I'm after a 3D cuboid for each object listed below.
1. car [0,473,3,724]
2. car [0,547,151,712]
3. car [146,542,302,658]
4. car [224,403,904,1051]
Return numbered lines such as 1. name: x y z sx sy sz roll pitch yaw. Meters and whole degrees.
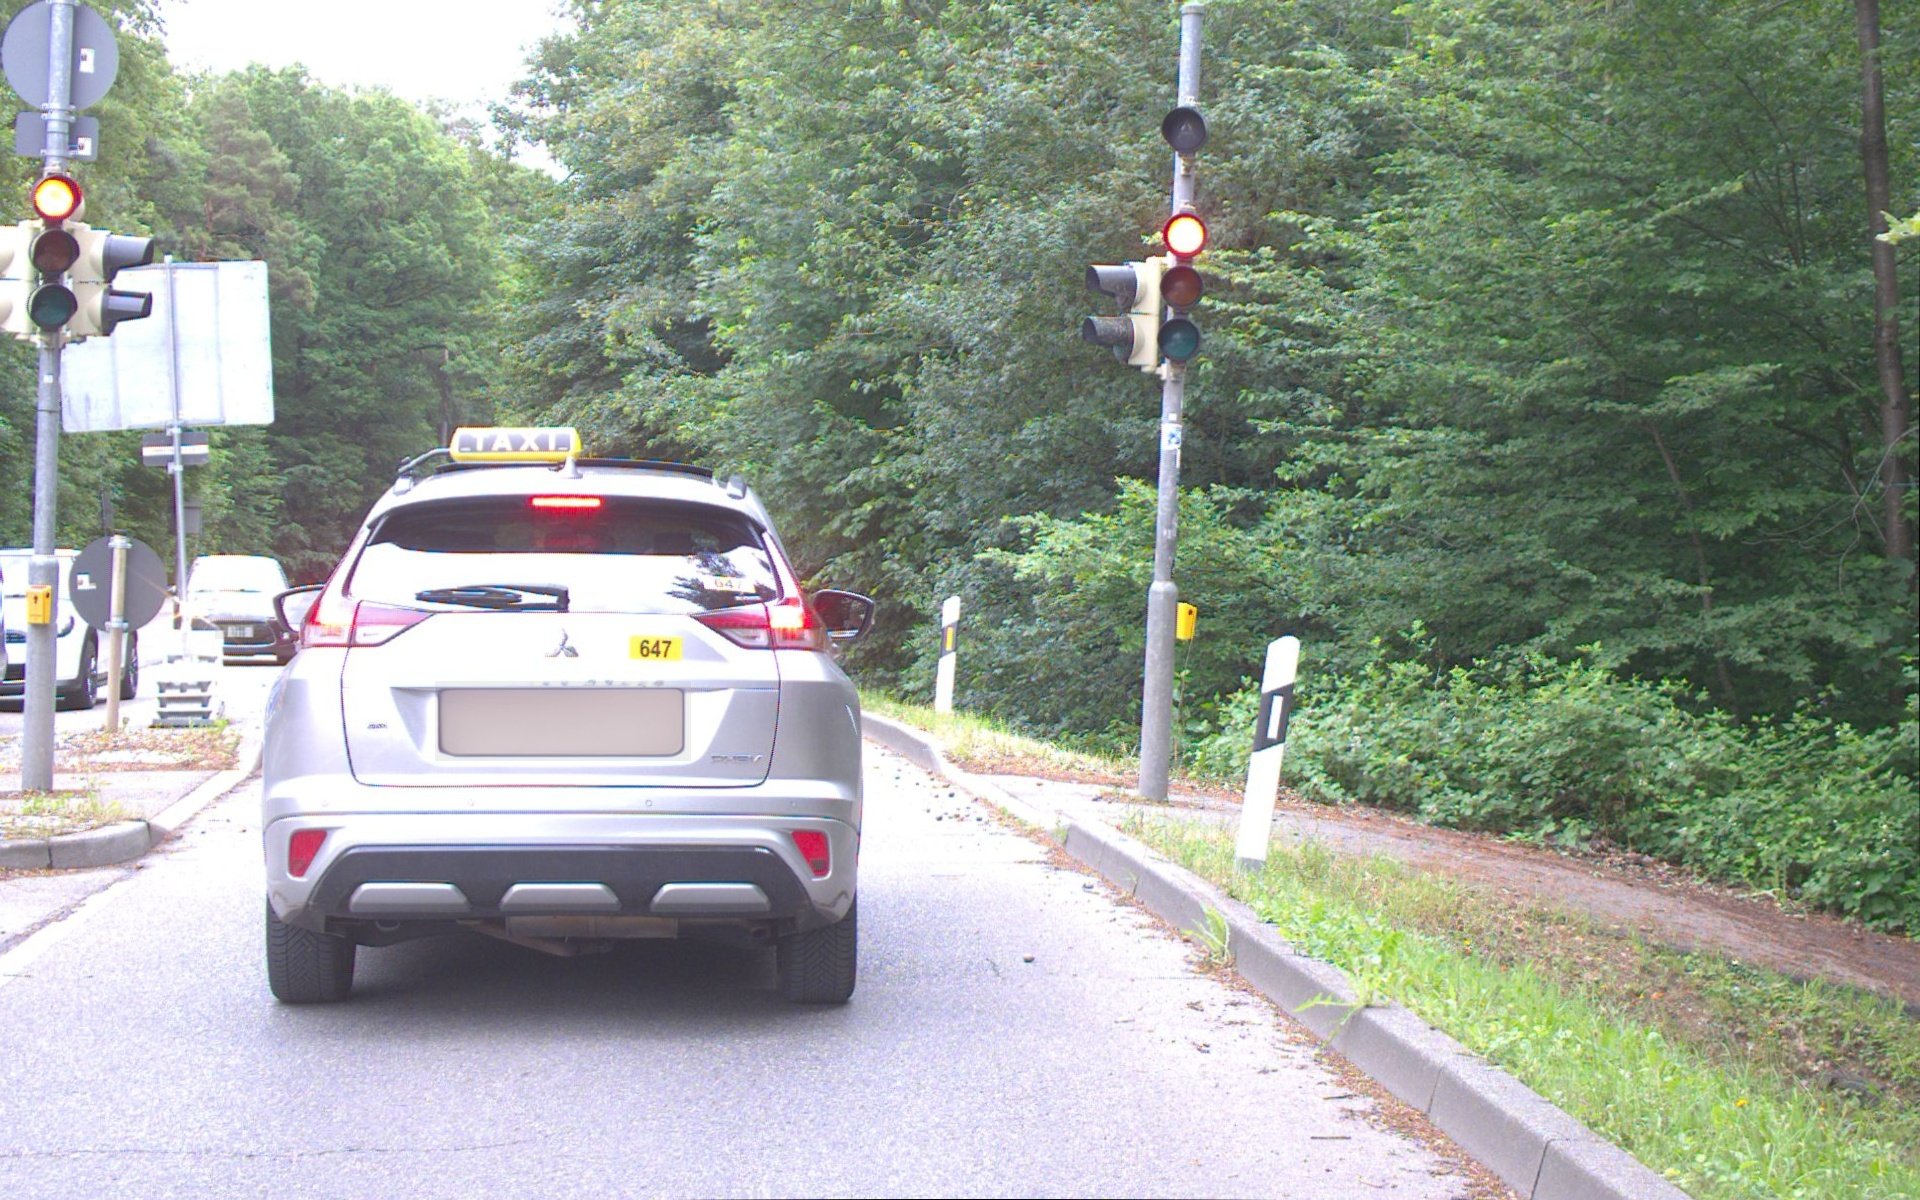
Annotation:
1. car: -8.008 0.026 23.460 1.993 1.887 4.840 -1 1 -5
2. car: -8.355 0.230 30.625 1.612 1.317 3.722 -1 2 -4
3. car: -10.185 -0.028 47.808 1.811 1.503 3.722 -2 1 -8
4. car: -1.305 0.317 11.611 1.846 1.774 4.001 2 1 -6
